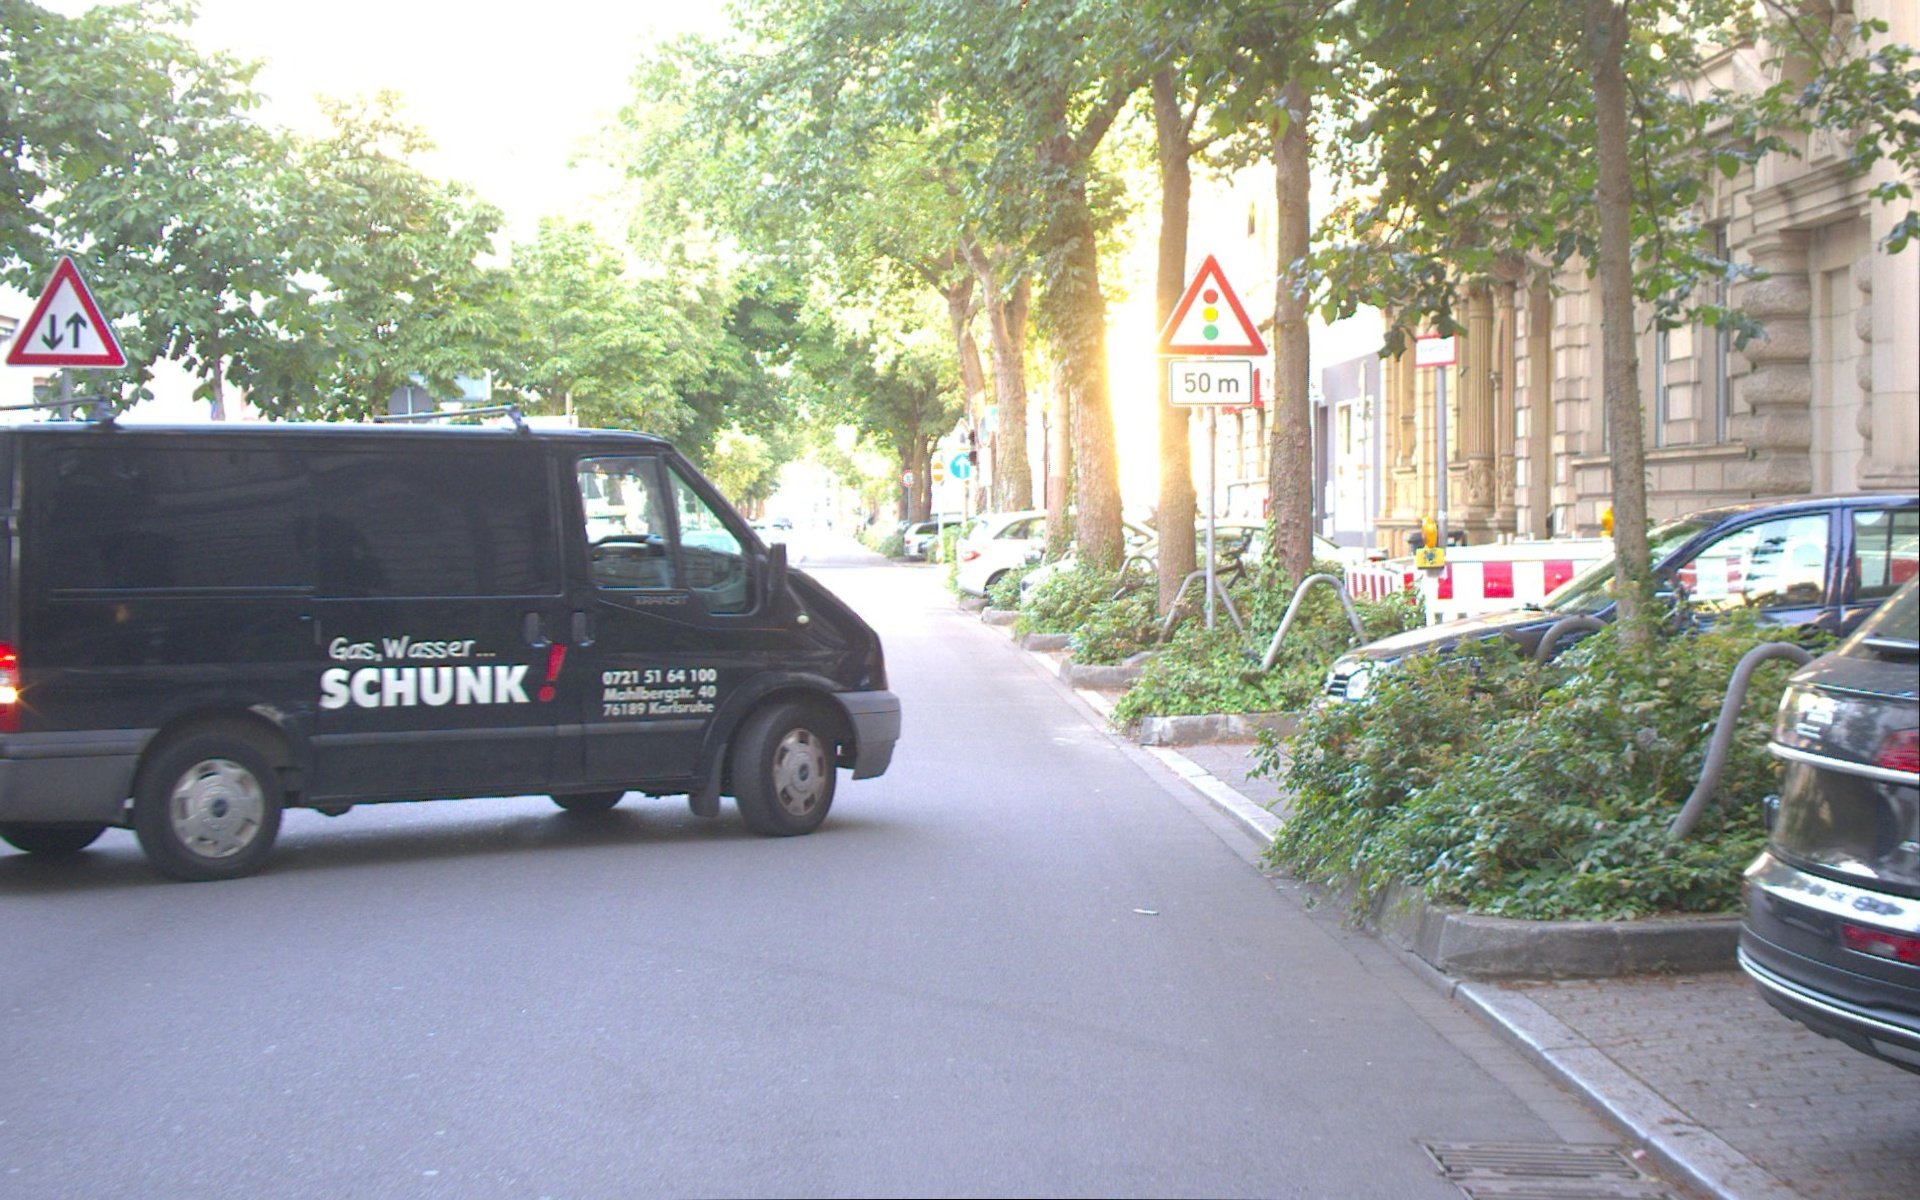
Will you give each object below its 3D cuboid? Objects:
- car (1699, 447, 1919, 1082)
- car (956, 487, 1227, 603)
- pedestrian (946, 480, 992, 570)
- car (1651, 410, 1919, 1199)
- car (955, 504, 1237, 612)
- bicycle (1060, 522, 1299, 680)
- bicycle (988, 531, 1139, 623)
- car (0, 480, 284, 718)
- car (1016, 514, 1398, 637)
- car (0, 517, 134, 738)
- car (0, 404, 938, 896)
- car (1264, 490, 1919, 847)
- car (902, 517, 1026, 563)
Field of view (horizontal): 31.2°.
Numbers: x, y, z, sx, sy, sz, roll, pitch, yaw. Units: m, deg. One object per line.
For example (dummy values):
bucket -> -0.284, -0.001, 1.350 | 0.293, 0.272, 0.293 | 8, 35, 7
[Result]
car -> 4.371, 0.379, 10.040 | 4.007, 1.681, 1.765 | -1, 2, -2
car -> 2.277, -0.977, 60.462 | 4.539, 1.908, 1.951 | -1, 1, -4
pedestrian -> 0.211, -1.796, 82.477 | 1.043, 2.139, 1.063 | 1, 1, -2
car -> 3.974, 0.422, 7.551 | 4.439, 1.712, 1.968 | -2, 1, -2
car -> 2.068, -0.663, 52.844 | 4.224, 1.555, 1.971 | -1, 2, 1
bicycle -> 1.950, 0.006, 30.647 | 2.046, 1.356, 0.508 | 1, 1, -4
bicycle -> 1.447, -0.330, 48.106 | 2.019, 1.200, 0.488 | -3, 1, -14
car -> -7.800, -0.057, 26.827 | 4.665, 1.759, 2.157 | 1, 1, -2
car -> 3.009, -0.325, 42.592 | 4.583, 1.432, 1.925 | -1, 2, 0
car -> -7.944, 0.145, 24.189 | 3.845, 1.445, 1.855 | 1, 2, -2
car -> -2.771, 0.134, 15.973 | 4.991, 1.984, 2.189 | -1, 2, -36
car -> 3.719, 0.259, 16.611 | 4.223, 1.476, 1.855 | -3, 1, -2
car -> 0.119, -2.081, 119.007 | 4.192, 1.475, 1.852 | -2, 1, -2
